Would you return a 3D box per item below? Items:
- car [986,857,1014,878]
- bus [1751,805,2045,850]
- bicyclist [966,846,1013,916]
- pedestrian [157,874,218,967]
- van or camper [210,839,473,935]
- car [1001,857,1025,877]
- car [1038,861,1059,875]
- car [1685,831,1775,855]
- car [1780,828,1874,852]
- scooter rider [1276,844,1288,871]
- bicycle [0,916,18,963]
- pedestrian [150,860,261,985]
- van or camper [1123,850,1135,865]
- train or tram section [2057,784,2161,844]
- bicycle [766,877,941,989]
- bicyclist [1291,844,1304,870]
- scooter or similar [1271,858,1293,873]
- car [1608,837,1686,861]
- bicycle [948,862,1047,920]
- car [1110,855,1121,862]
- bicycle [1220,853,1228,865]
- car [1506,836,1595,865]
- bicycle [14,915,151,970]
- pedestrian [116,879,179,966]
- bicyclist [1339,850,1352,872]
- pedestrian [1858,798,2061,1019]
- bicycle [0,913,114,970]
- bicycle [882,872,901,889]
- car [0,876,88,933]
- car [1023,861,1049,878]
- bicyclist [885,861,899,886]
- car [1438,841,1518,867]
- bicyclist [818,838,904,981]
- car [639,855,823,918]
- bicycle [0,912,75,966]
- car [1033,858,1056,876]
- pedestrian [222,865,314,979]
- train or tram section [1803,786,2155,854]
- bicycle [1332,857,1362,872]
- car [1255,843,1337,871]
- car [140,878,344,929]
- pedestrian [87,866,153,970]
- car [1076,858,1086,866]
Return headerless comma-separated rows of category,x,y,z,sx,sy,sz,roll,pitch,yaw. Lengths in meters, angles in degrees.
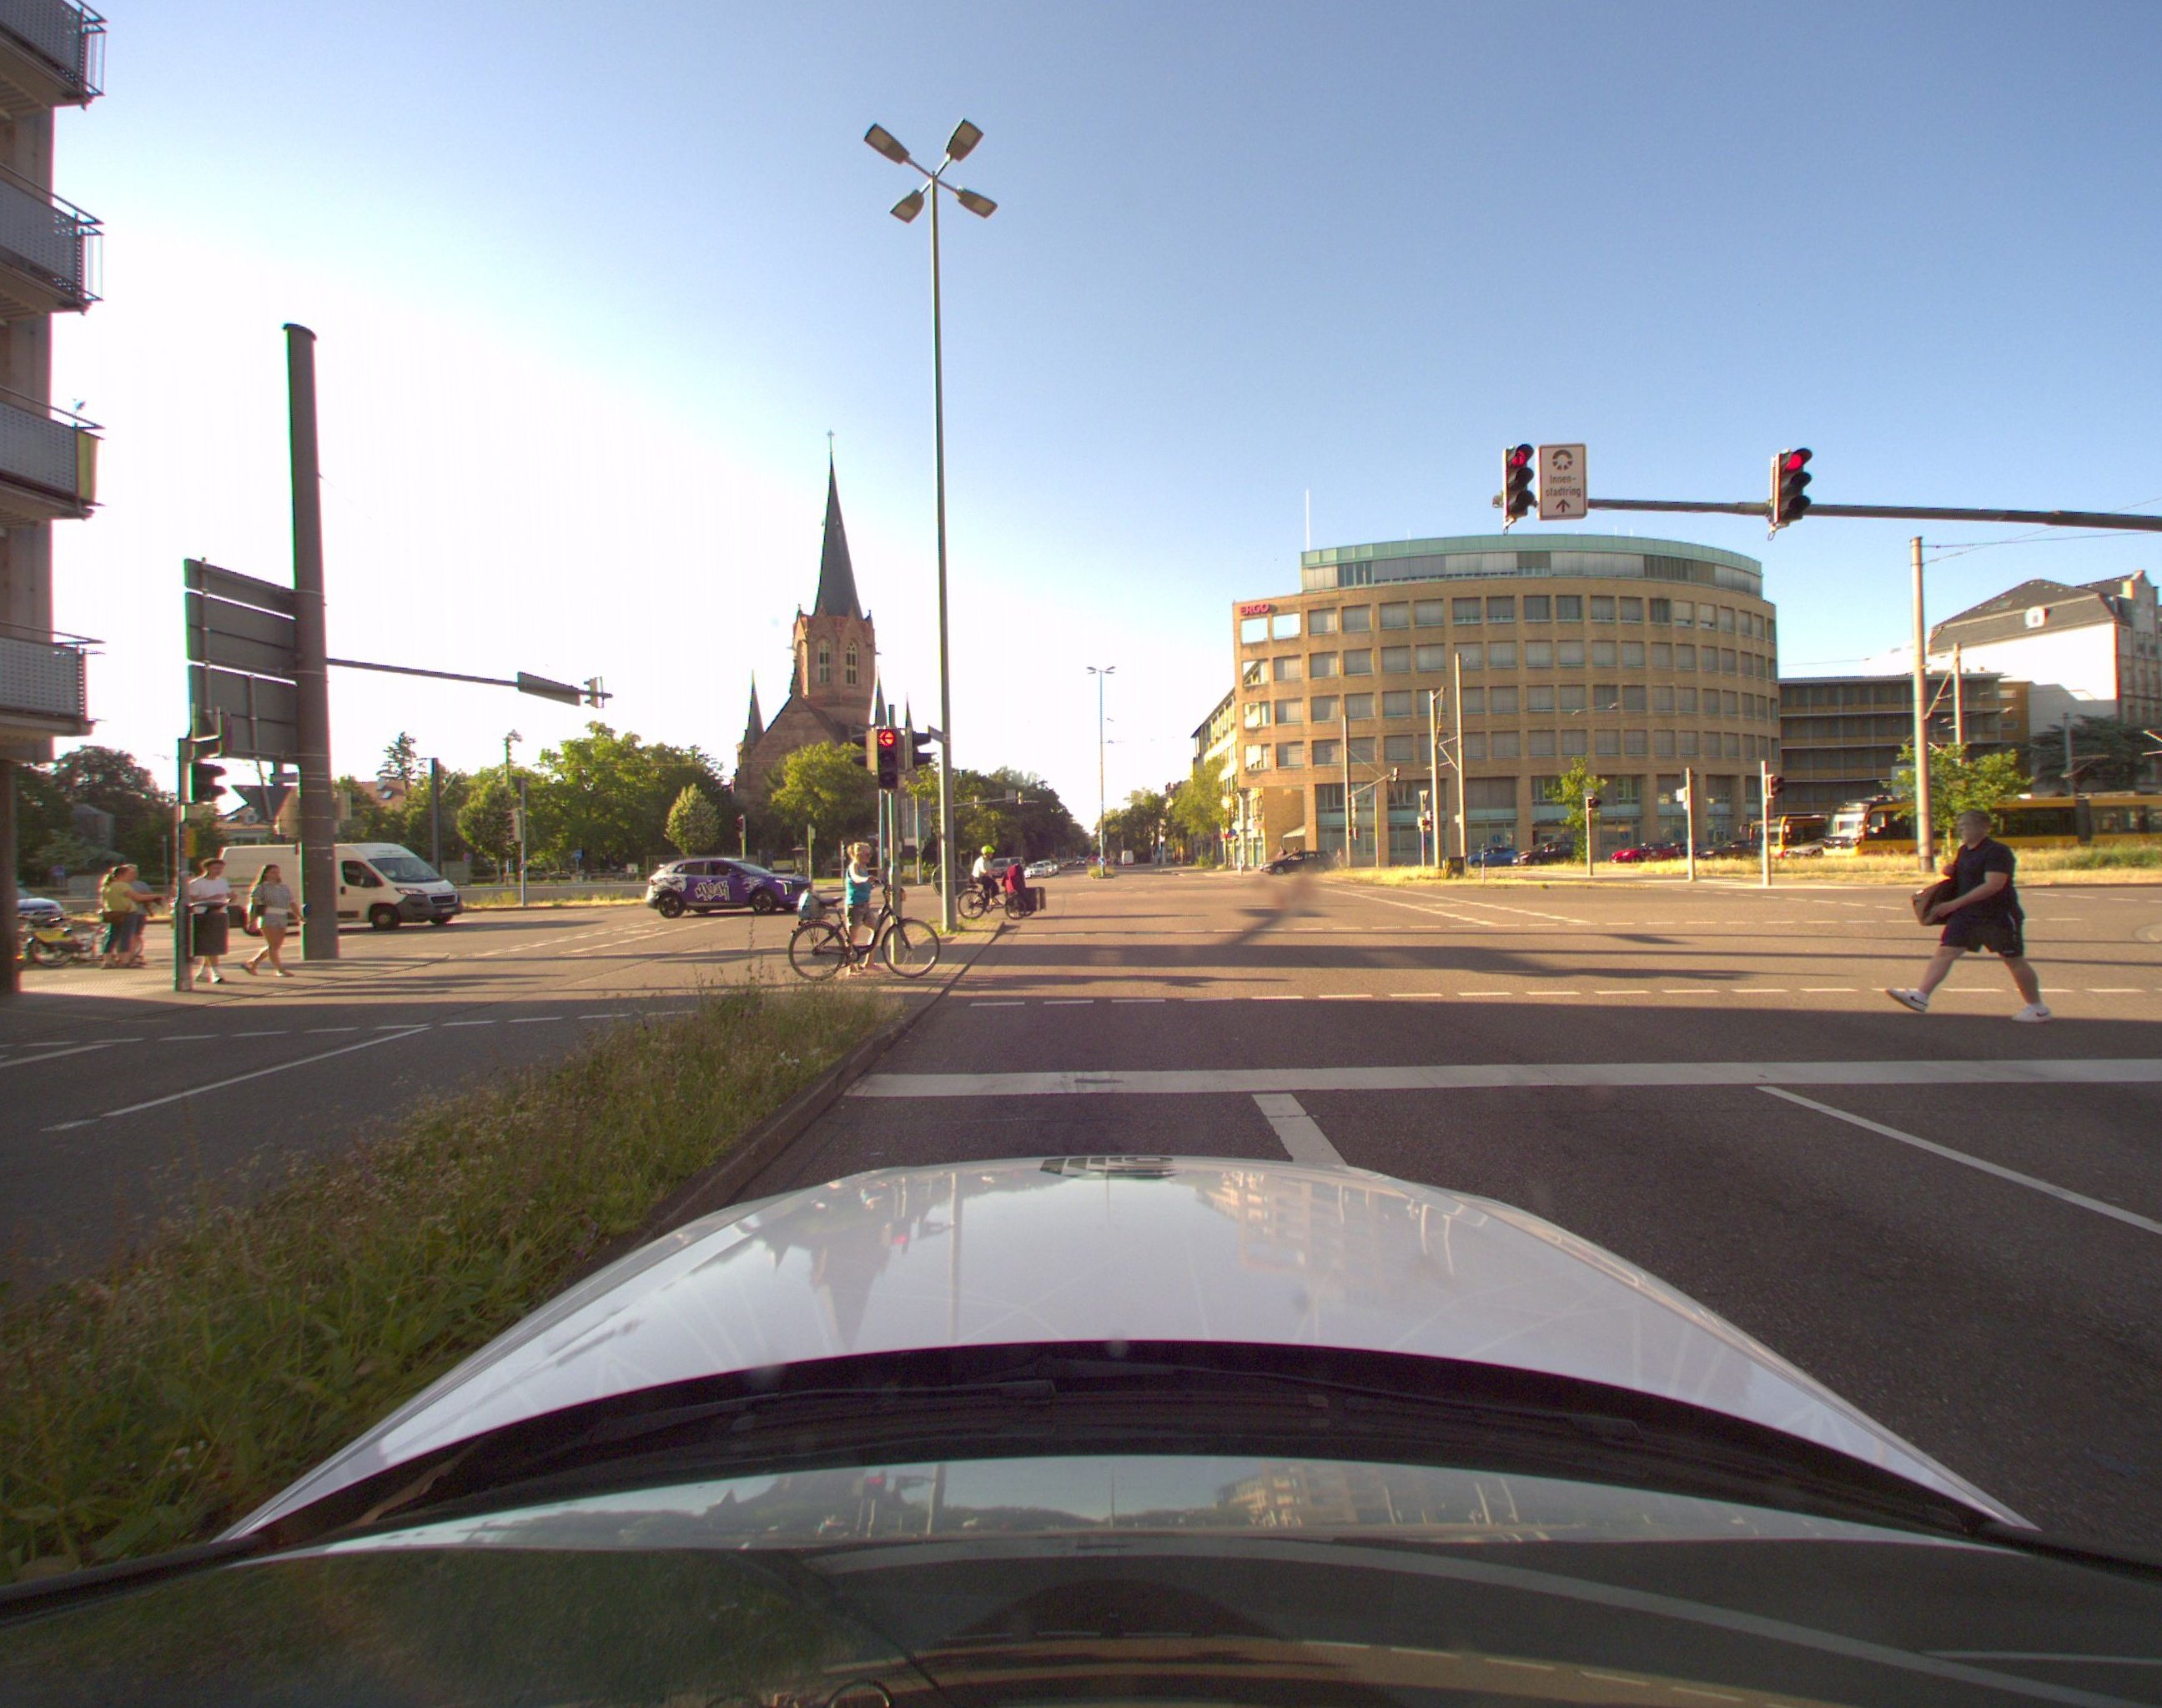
car,-6.705,1.113,67.921,1.773,1.647,4.001,-2,0,1
bus,53.819,-1.730,53.749,18.131,2.436,2.419,-2,0,-4
bicyclist,-2.010,0.574,18.075,0.877,1.487,1.161,-2,0,-1
pedestrian,-16.235,1.192,14.802,0.464,1.642,0.579,-2,0,21
van or camper,-20.689,0.899,22.970,5.401,2.416,2.166,-2,0,1
car,-6.267,1.191,75.319,1.773,1.704,4.001,-2,0,1
car,-3.215,1.365,81.357,1.773,1.236,4.001,-2,0,1
car,39.943,-0.660,50.150,3.976,1.346,1.999,-2,0,-2
car,46.040,-0.840,50.310,3.976,1.346,1.999,-2,0,-2
scooter rider,13.779,0.252,55.910,0.676,1.814,0.476,-2,0,7
bicycle,-21.419,1.695,15.360,0.494,0.907,1.703,-2,0,0
pedestrian,-12.873,0.984,11.987,0.917,1.758,0.676,-2,0,9
van or camper,8.605,0.672,147.004,1.986,2.640,5.353,-2,0,2
train or tram section,67.638,-2.509,48.728,19.925,3.177,3.681,-2,0,-15
bicycle,-2.639,0.905,9.599,1.822,1.188,0.734,-2,0,-1
bicyclist,14.701,0.222,55.258,0.786,1.736,0.476,-2,0,7
scooter or similar,13.766,0.772,55.919,1.393,1.001,0.476,-2,0,7
car,34.578,-0.289,49.821,3.595,1.342,1.722,-2,0,1
bicycle,-1.820,0.810,18.096,2.037,1.168,1.161,-2,0,-1
car,7.472,1.006,177.916,1.989,1.592,3.996,-2,0,-2
bicycle,14.887,0.564,84.926,0.769,1.195,2.471,-2,0,9
car,28.479,-0.211,49.491,4.212,1.614,2.001,-2,0,2
bicycle,-18.929,1.655,15.500,0.494,0.840,1.703,-2,0,0
pedestrian,-17.197,1.243,15.012,0.466,1.530,0.576,-2,0,0
bicyclist,18.027,0.498,55.482,0.663,1.469,0.534,-2,0,5
pedestrian,7.448,0.445,6.949,0.940,1.768,0.670,-2,0,5
bicycle,-19.711,1.643,15.527,0.494,0.907,1.703,-2,0,0
bicycle,-12.826,1.790,55.219,0.650,1.139,1.661,-2,0,-35
car,-35.246,1.650,25.993,4.439,1.672,2.121,-2,0,0
car,-3.688,1.273,67.359,1.773,1.236,4.001,-2,0,1
bicyclist,-12.840,1.334,55.207,0.644,1.694,0.773,-2,0,-36
car,25.706,0.003,52.766,4.218,1.502,1.998,-2,0,-3
bicyclist,-2.712,0.657,10.121,0.780,1.660,0.900,-2,0,-1
car,-9.863,0.890,23.195,4.386,1.573,1.837,-2,0,1
bicycle,-20.336,1.626,15.392,0.494,0.907,1.703,-2,0,0
car,-3.302,1.142,73.932,1.773,1.464,4.001,-2,0,1
pedestrian,-12.718,1.048,12.757,0.749,1.709,0.676,-2,0,9
train or tram section,50.097,-1.878,45.618,17.074,3.177,3.693,-2,0,-5
bicycle,18.100,0.691,55.464,1.812,0.984,0.534,-2,0,4
car,13.631,0.205,51.873,4.635,1.598,1.998,-2,0,-2
car,-26.991,1.569,26.315,4.470,1.409,1.960,-2,0,-1
pedestrian,-16.867,1.112,14.302,0.550,1.769,0.470,-2,0,2
car,-0.028,1.620,162.121,1.773,1.449,4.001,-2,0,1
